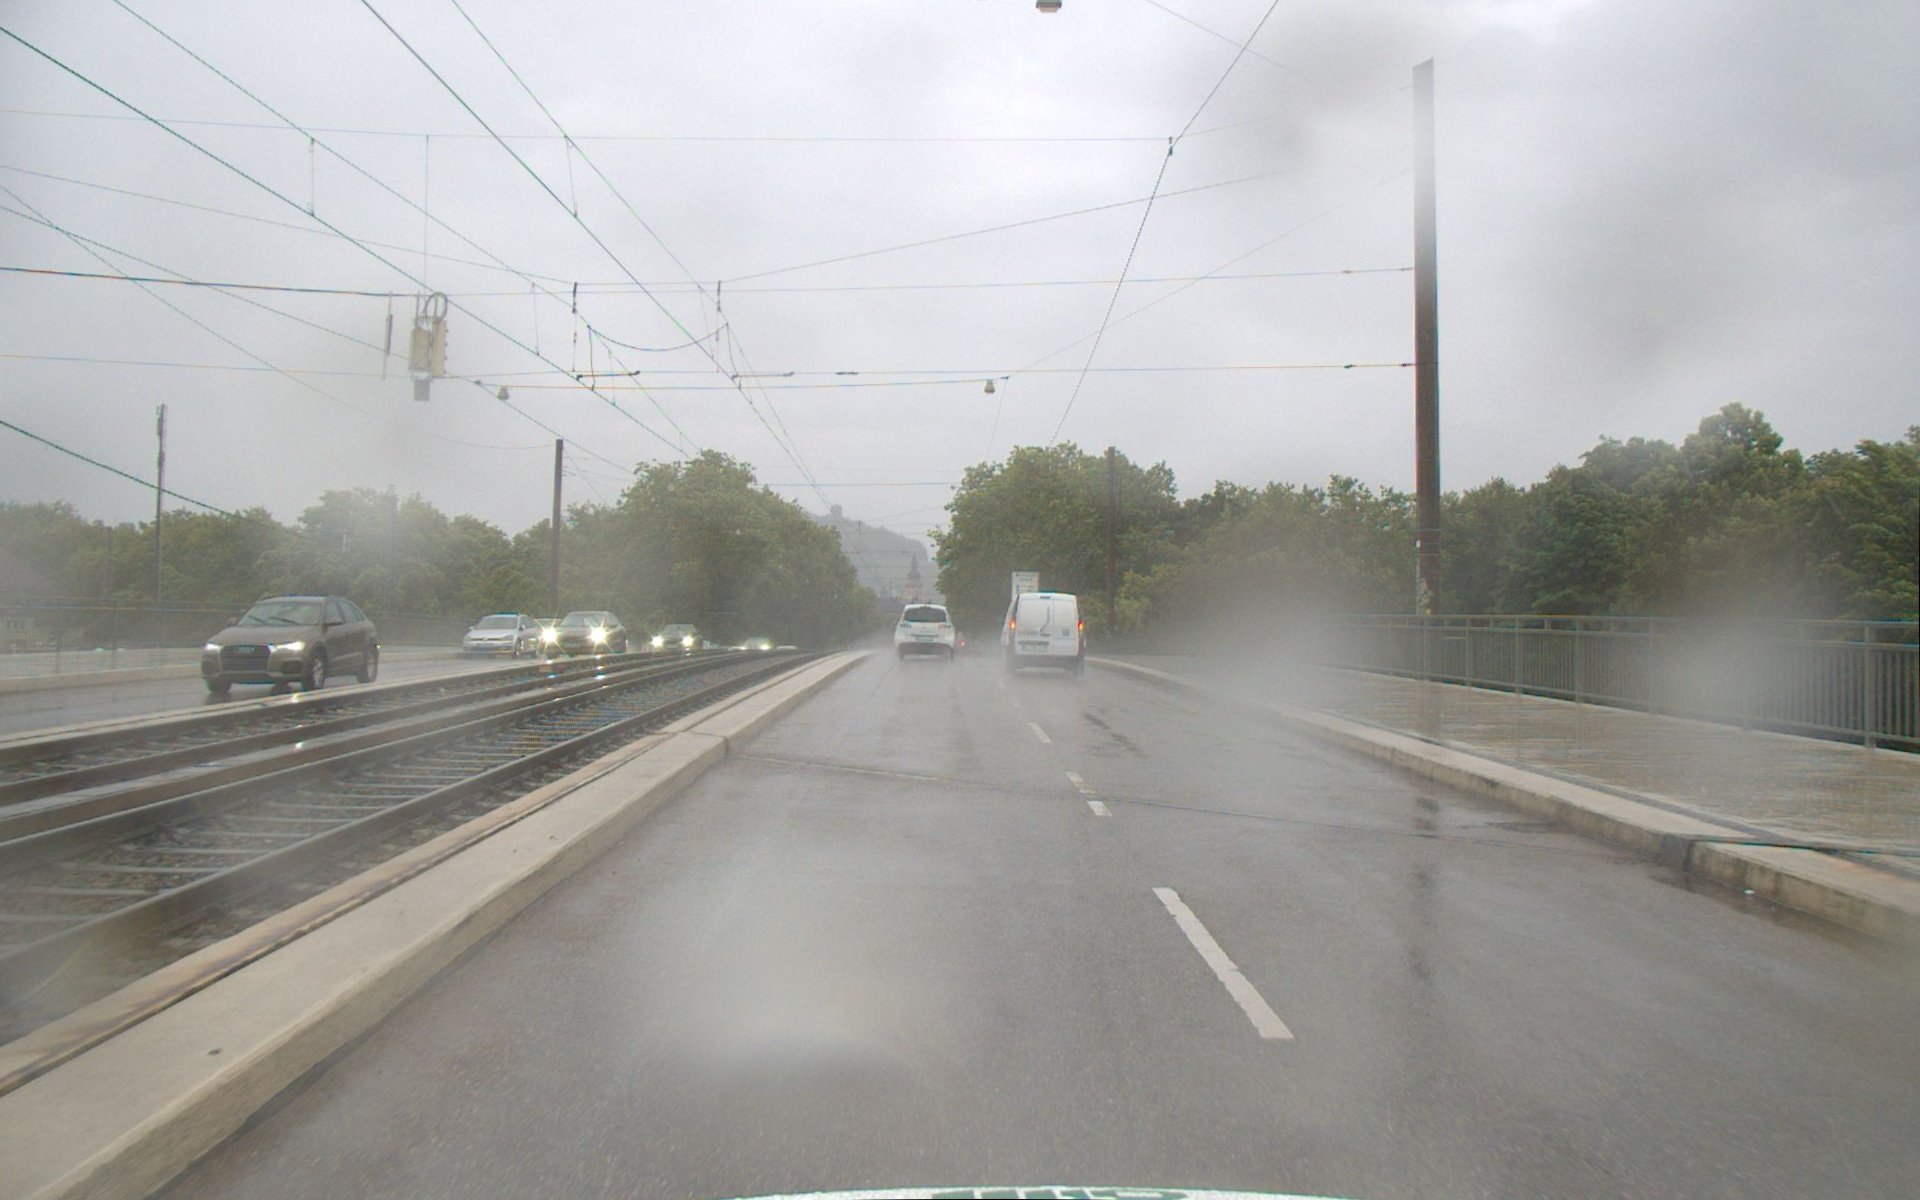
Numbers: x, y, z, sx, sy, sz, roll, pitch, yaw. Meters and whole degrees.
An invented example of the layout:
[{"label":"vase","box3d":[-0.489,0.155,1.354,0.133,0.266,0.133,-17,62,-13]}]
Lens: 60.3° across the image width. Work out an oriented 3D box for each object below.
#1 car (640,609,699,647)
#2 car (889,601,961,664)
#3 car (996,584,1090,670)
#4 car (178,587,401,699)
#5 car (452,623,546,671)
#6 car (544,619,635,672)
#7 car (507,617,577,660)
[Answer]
[{"label":"car","box3d":[-12.646,1.243,72.226,1.953,1.536,4.090,-1,-2,-2]},{"label":"car","box3d":[-1.026,1.004,50.121,1.952,1.747,4.000,2,-2,1]},{"label":"car","box3d":[1.817,0.632,37.304,1.952,1.757,4.000,2,-2,1]},{"label":"car","box3d":[-11.567,0.764,28.931,1.953,1.747,4.939,-1,-2,-1]},{"label":"car","box3d":[-15.324,1.560,55.209,1.953,1.481,4.618,-1,-2,-2]},{"label":"car","box3d":[-11.596,1.424,52.045,1.954,1.536,5.109,-1,-2,-3]},{"label":"car","box3d":[-15.427,1.431,61.202,1.587,1.481,4.320,-1,-2,-2]}]
